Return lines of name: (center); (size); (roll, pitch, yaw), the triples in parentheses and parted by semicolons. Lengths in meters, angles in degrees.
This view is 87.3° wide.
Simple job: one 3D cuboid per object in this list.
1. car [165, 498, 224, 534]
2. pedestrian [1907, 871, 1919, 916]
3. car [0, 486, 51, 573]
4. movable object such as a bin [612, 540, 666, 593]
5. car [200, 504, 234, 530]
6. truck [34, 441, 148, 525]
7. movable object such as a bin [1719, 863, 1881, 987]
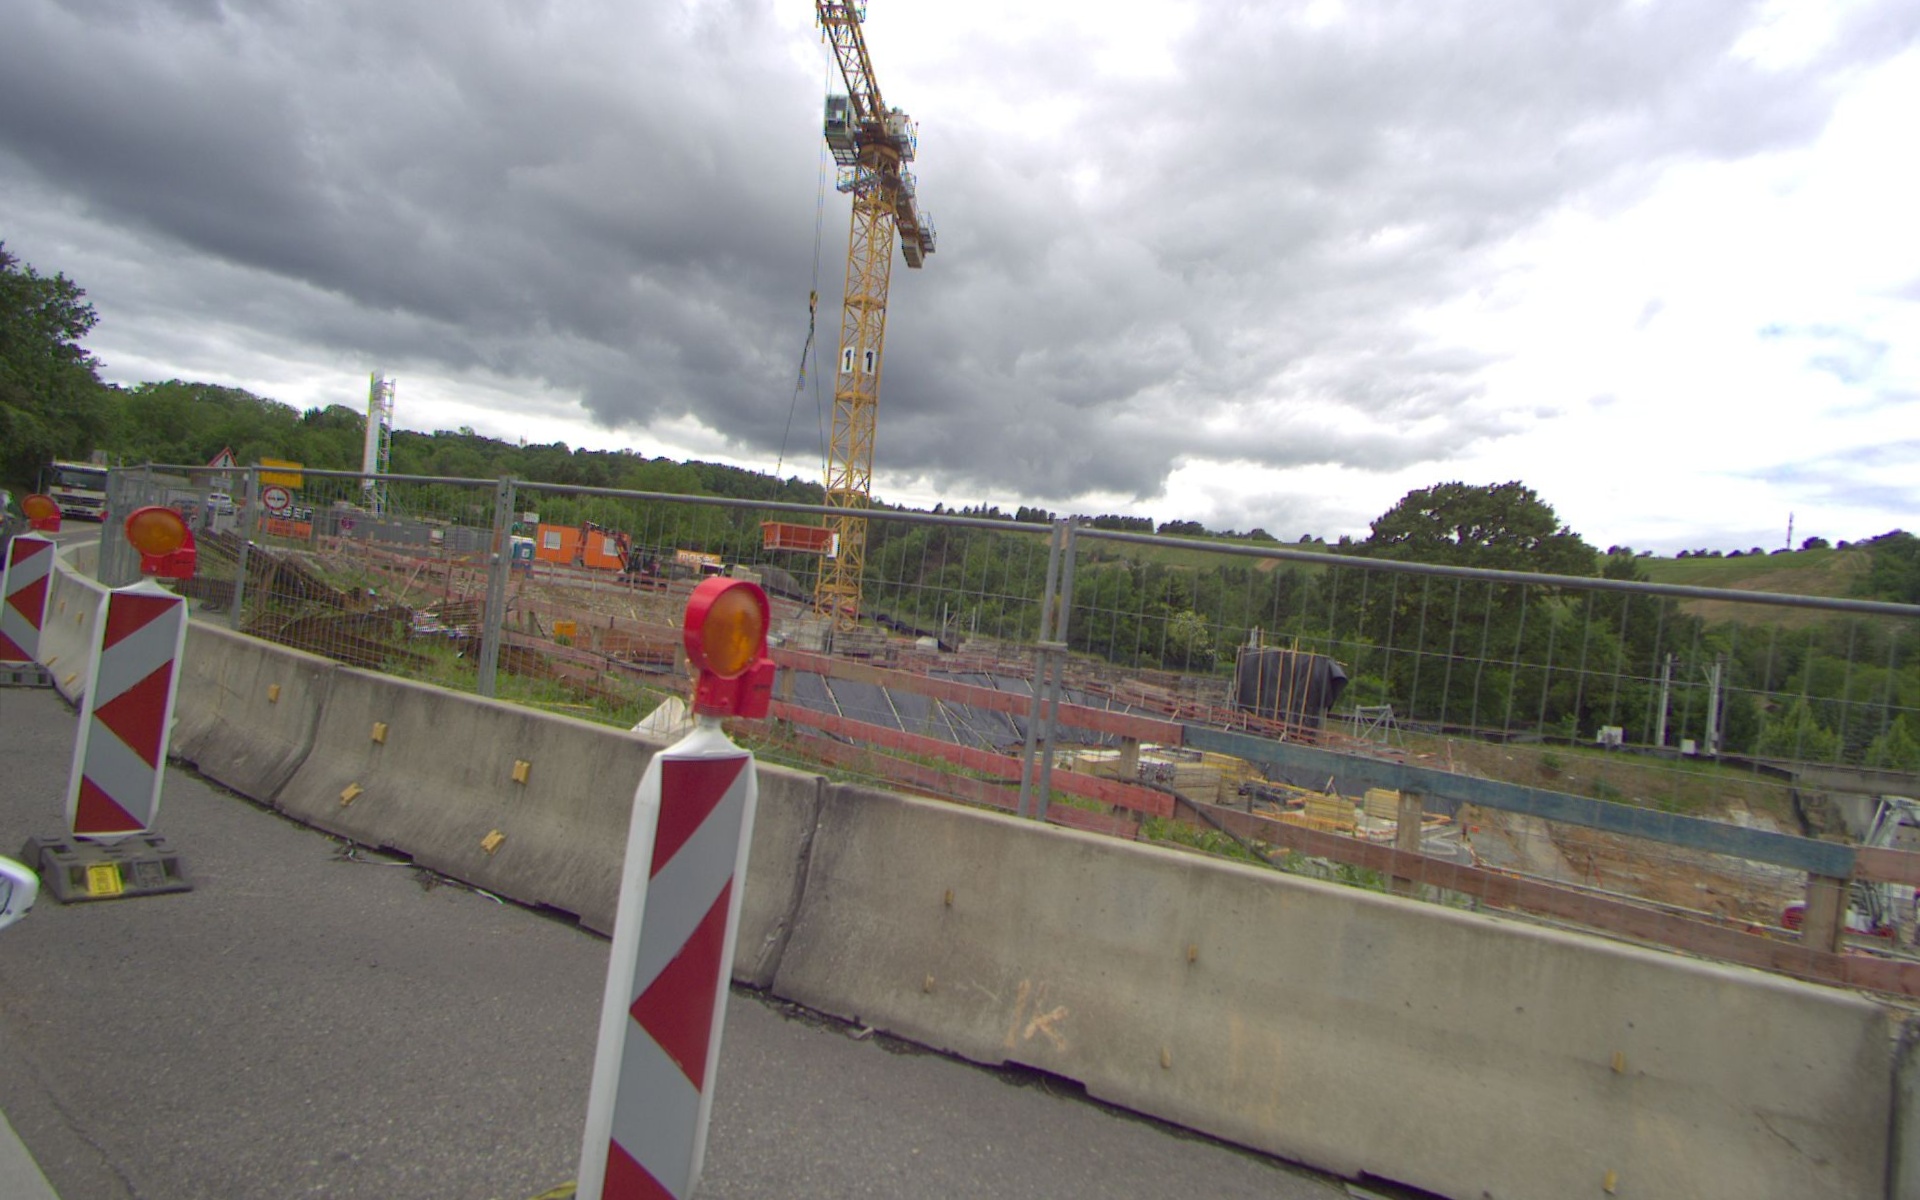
car: (-41.765, -4.577, 54.982); (1.805, 1.570, 3.762); (8, -1, -28)
pedestrian: (46.541, 14.235, 48.631); (0.812, 2.036, 0.682); (8, -2, 34)
car: (-19.234, -1.486, 19.509); (1.788, 1.570, 3.962); (8, -2, -36)
movable object such as a bin: (-20.914, -2.173, 65.529); (2.773, 3.116, 1.824); (5, 1, -35)
car: (-54.853, -6.100, 74.292); (1.700, 1.696, 3.965); (5, 0, -33)
truck: (-41.773, -5.544, 48.653); (2.800, 3.379, 8.304); (5, 2, -33)
movable object such as a bin: (27.082, 10.313, 32.430); (4.256, 2.781, 3.016); (9, -2, -38)
